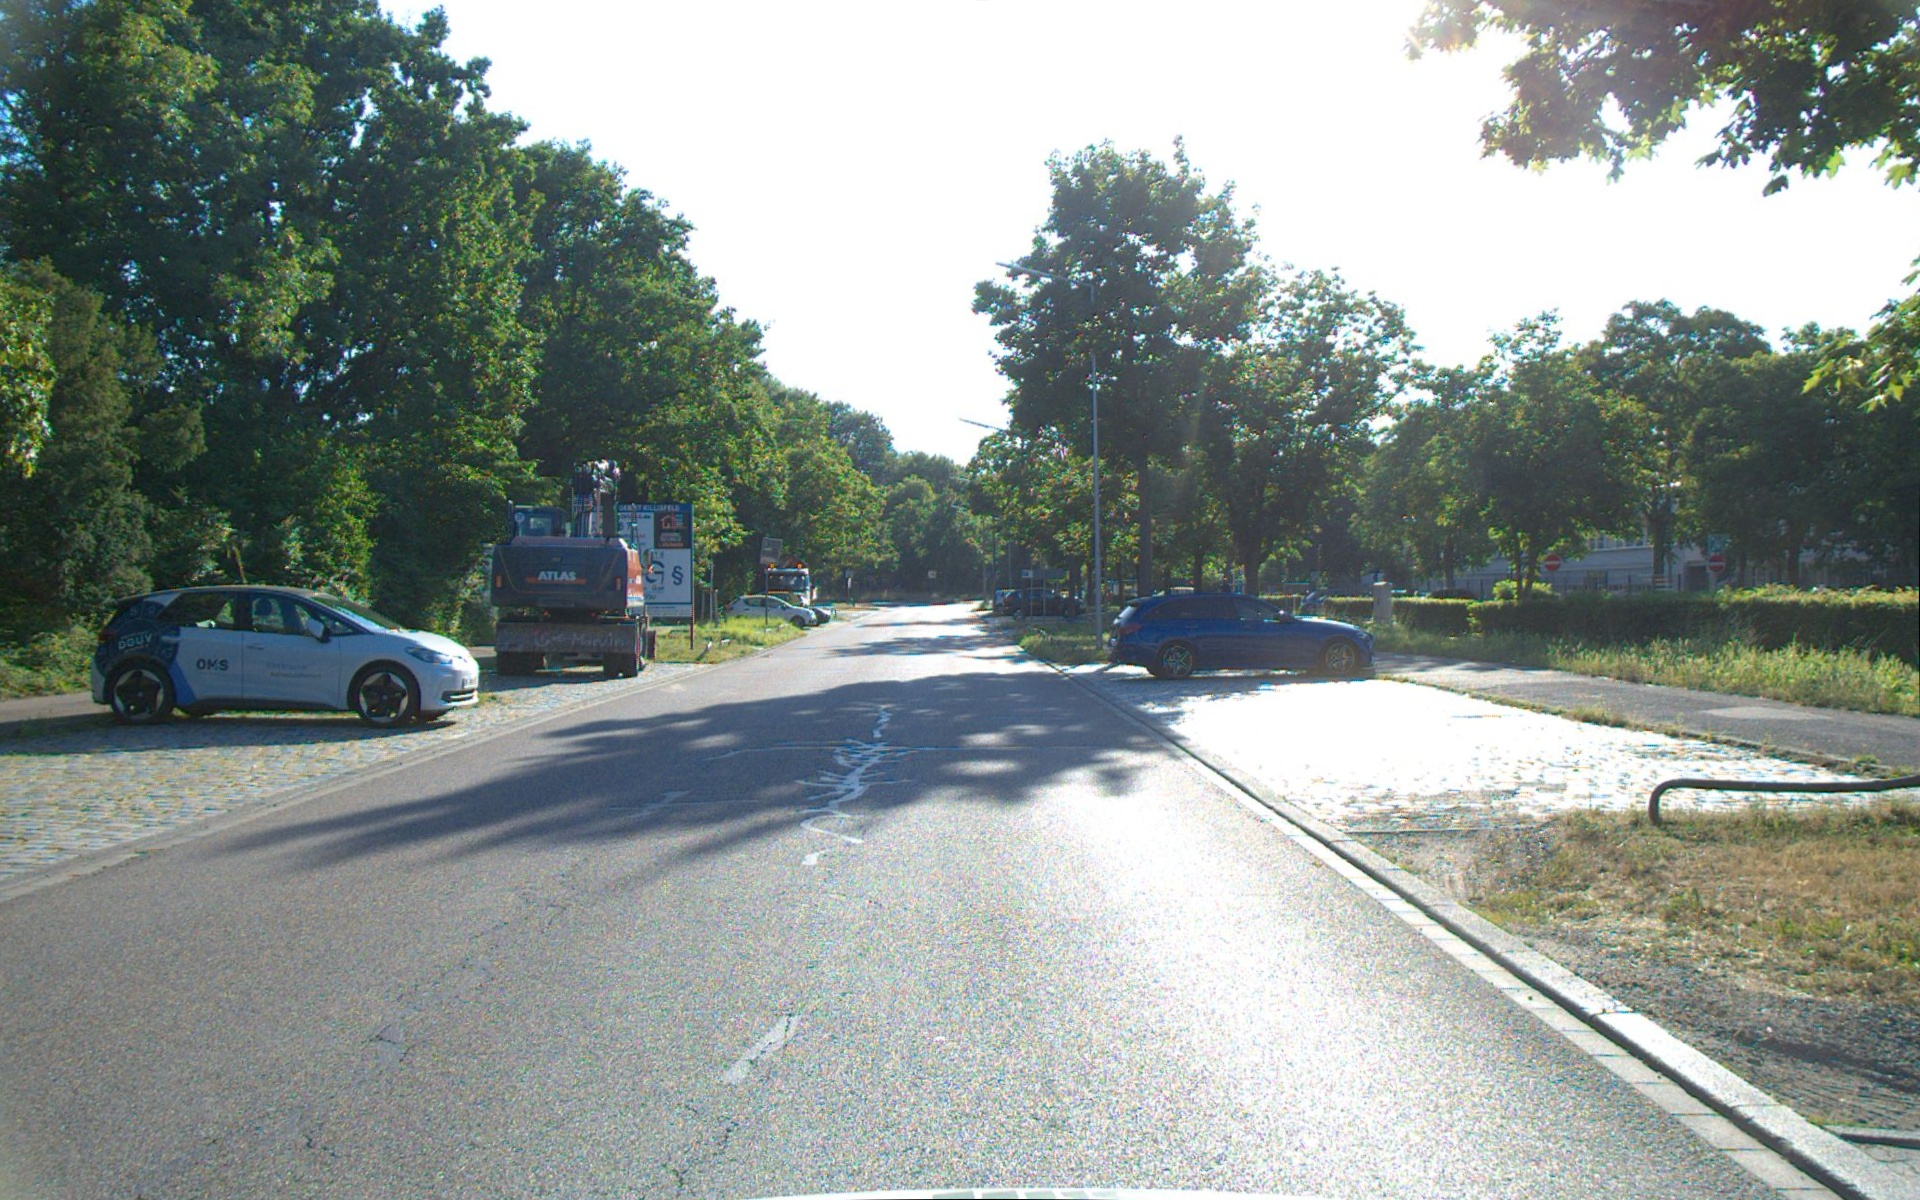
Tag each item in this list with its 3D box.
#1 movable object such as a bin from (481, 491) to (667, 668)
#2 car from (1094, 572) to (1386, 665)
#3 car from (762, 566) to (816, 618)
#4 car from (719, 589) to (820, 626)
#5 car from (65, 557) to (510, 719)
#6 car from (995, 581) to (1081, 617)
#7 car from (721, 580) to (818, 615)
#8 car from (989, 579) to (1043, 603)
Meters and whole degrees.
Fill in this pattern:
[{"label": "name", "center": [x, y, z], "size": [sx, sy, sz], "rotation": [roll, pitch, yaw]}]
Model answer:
[{"label": "movable object such as a bin", "center": [-7.327, -0.393, 31.987], "size": [2.783, 3.122, 4.922], "rotation": [-1, 1, -5]}, {"label": "car", "center": [4.805, 0.298, 28.892], "size": [4.742, 1.505, 2.000], "rotation": [-1, 1, 0]}, {"label": "car", "center": [-8.469, -0.417, 81.503], "size": [2.469, 2.427, 4.366], "rotation": [1, 1, -8]}, {"label": "car", "center": [-8.296, 0.311, 72.144], "size": [4.276, 1.505, 1.997], "rotation": [-1, 1, -8]}, {"label": "car", "center": [-7.666, 0.408, 19.197], "size": [4.270, 1.574, 2.000], "rotation": [3, 1, 0]}, {"label": "car", "center": [4.026, -0.057, 85.539], "size": [4.270, 1.759, 2.000], "rotation": [1, 1, -2]}, {"label": "car", "center": [-8.599, -0.136, 74.771], "size": [4.276, 1.505, 1.997], "rotation": [-1, 1, -8]}, {"label": "car", "center": [4.107, -0.683, 121.843], "size": [3.906, 1.710, 1.999], "rotation": [-1, 0, -2]}]
